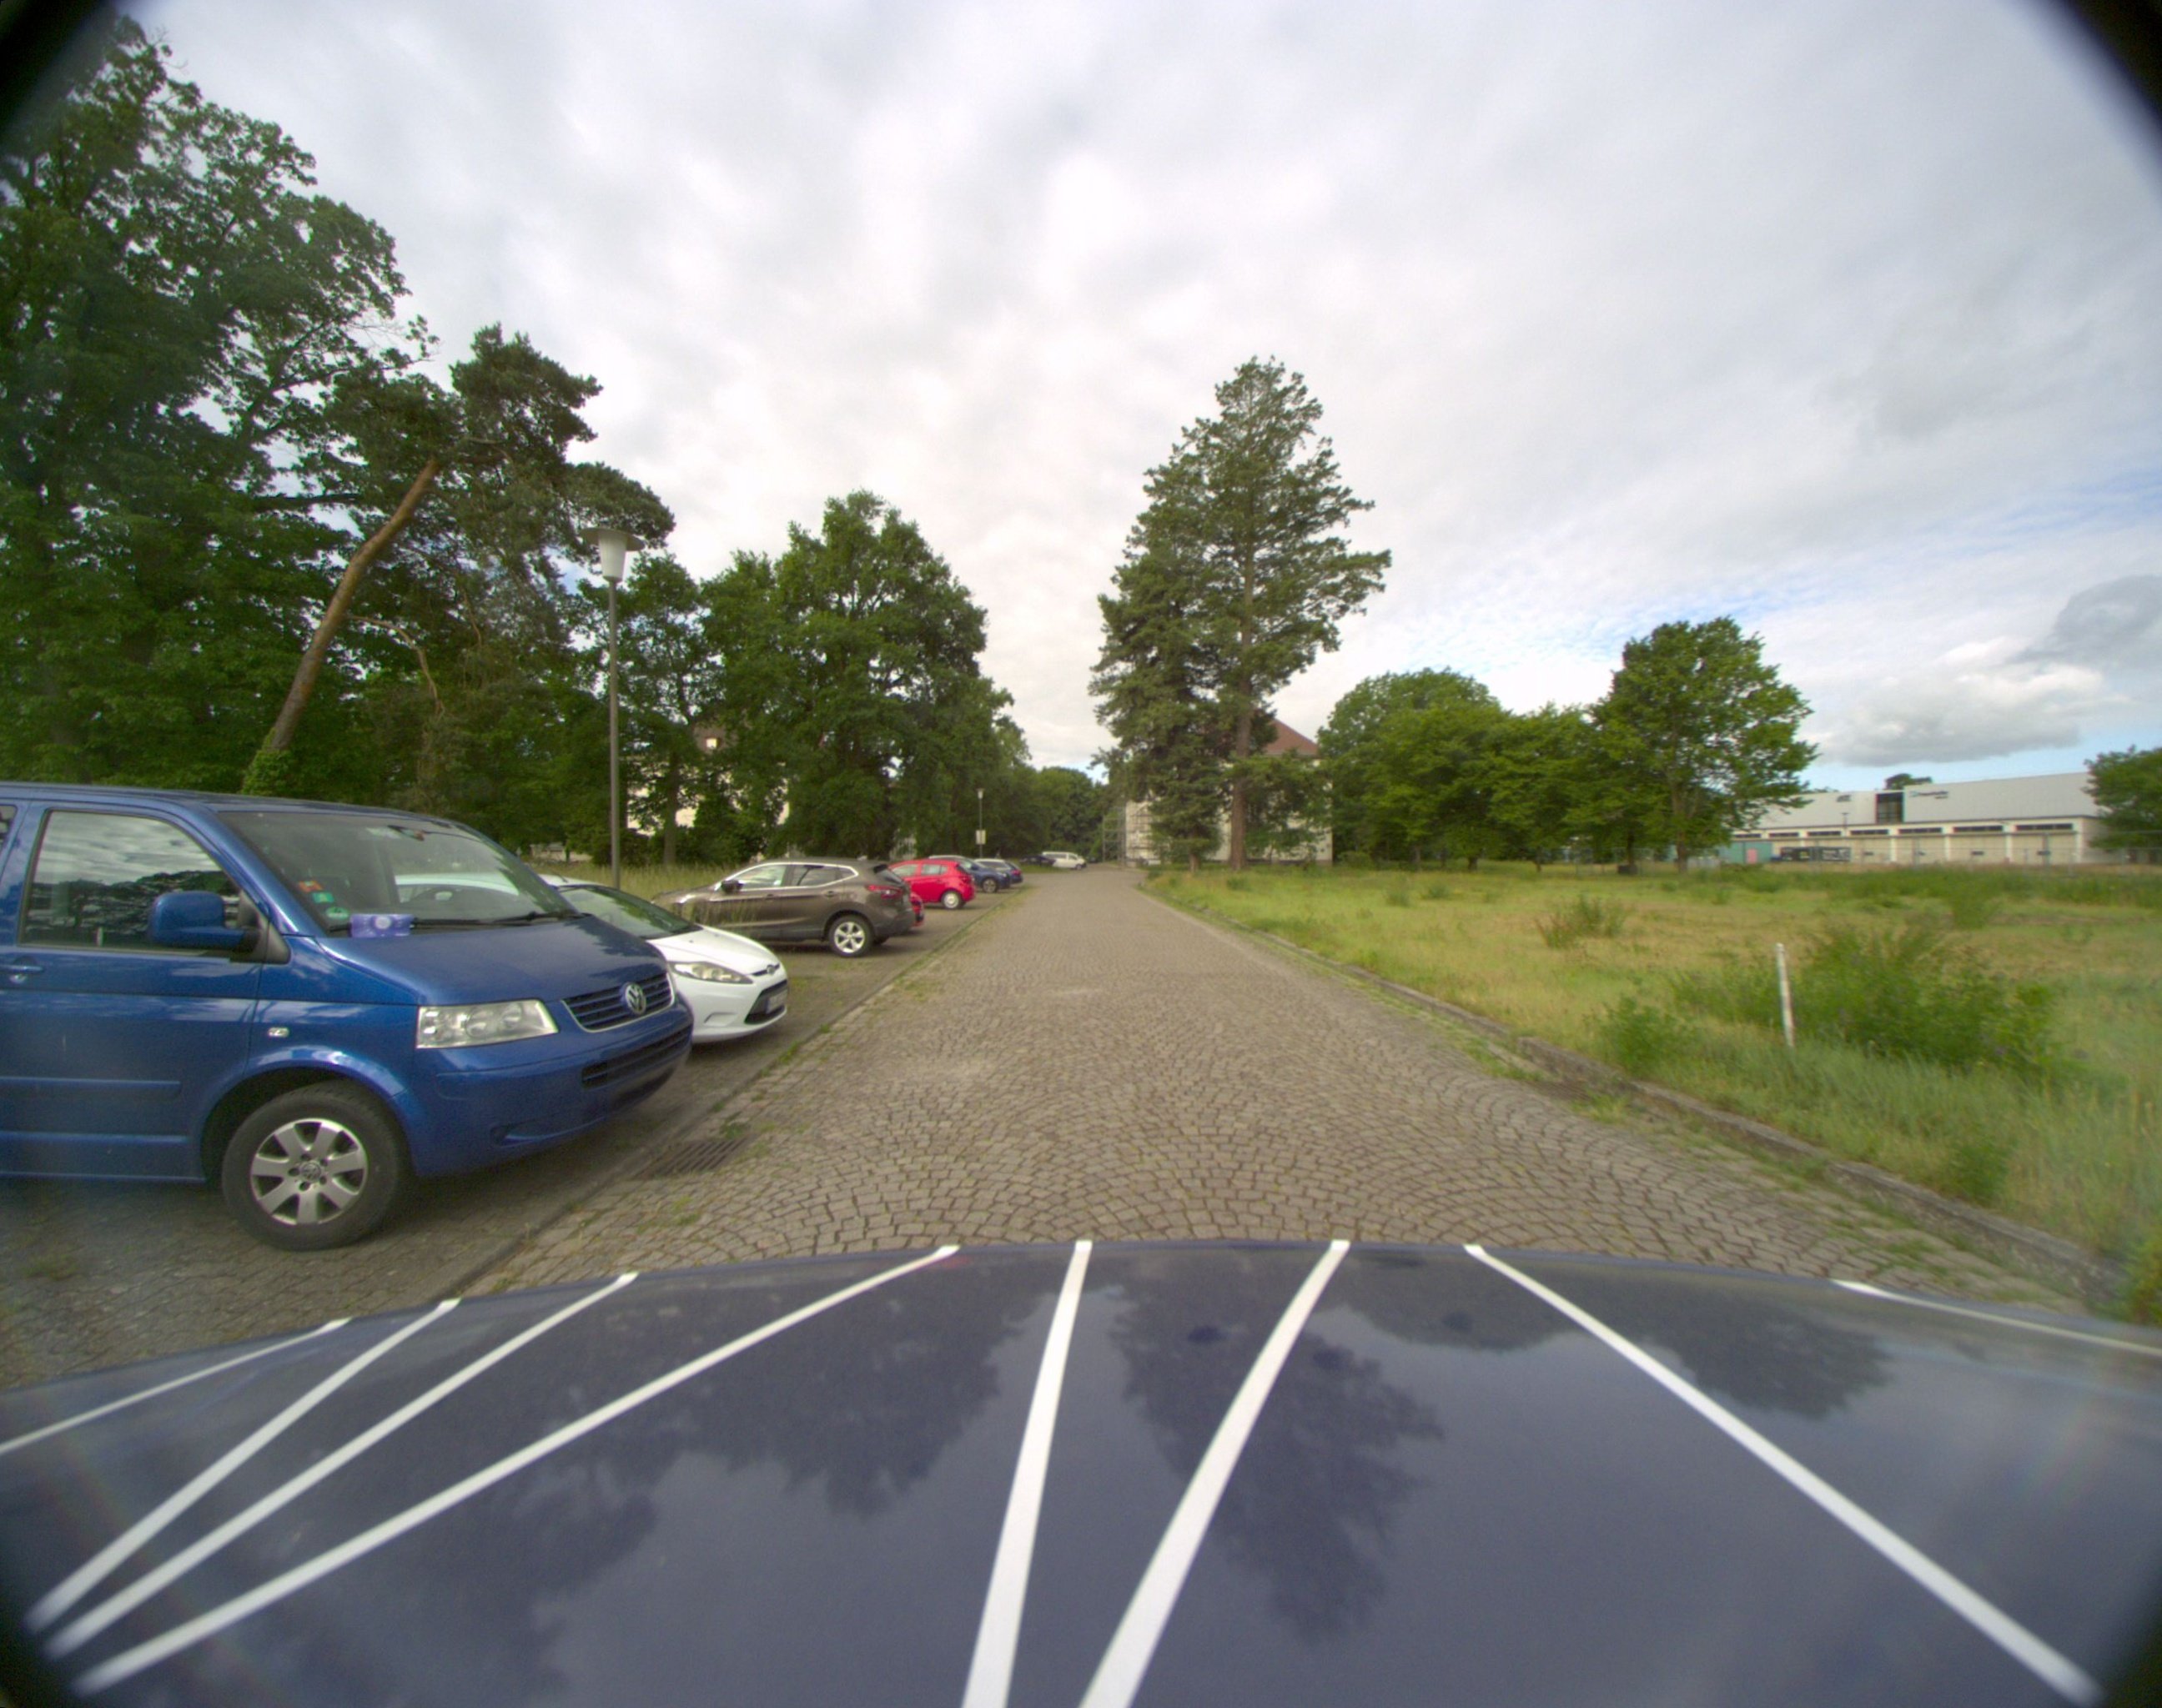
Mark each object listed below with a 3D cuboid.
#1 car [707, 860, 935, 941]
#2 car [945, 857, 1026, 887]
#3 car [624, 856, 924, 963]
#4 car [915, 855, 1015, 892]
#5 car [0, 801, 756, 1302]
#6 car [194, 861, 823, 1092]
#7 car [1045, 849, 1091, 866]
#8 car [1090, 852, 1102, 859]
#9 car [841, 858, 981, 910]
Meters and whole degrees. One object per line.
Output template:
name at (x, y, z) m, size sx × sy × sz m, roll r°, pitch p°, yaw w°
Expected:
car at (-5.163, 0.901, 15.478) m, size 4.016 × 1.477 × 1.765 m, roll 1°, pitch 0°, yaw 0°
car at (-4.709, 0.886, 37.935) m, size 3.878 × 1.417 × 1.582 m, roll 1°, pitch 0°, yaw -2°
car at (-4.966, 0.869, 12.752) m, size 4.271 × 1.589 × 1.821 m, roll 1°, pitch 0°, yaw -2°
car at (-5.013, 0.826, 33.271) m, size 4.150 × 1.529 × 1.582 m, roll 1°, pitch 0°, yaw -2°
car at (-4.536, 0.750, 3.922) m, size 4.820 × 1.934 × 2.002 m, roll 1°, pitch 0°, yaw -2°
car at (-4.480, 0.915, 6.488) m, size 3.873 × 1.463 × 1.841 m, roll 3°, pitch 0°, yaw -2°
car at (-1.513, 0.426, 86.773) m, size 5.141 × 1.860 × 1.723 m, roll 1°, pitch 0°, yaw -2°
car at (2.957, 0.255, 153.784) m, size 1.870 × 1.408 × 4.694 m, roll 1°, pitch 0°, yaw -5°
car at (-5.063, 0.887, 23.028) m, size 3.895 × 1.451 × 1.582 m, roll 1°, pitch 0°, yaw -2°
